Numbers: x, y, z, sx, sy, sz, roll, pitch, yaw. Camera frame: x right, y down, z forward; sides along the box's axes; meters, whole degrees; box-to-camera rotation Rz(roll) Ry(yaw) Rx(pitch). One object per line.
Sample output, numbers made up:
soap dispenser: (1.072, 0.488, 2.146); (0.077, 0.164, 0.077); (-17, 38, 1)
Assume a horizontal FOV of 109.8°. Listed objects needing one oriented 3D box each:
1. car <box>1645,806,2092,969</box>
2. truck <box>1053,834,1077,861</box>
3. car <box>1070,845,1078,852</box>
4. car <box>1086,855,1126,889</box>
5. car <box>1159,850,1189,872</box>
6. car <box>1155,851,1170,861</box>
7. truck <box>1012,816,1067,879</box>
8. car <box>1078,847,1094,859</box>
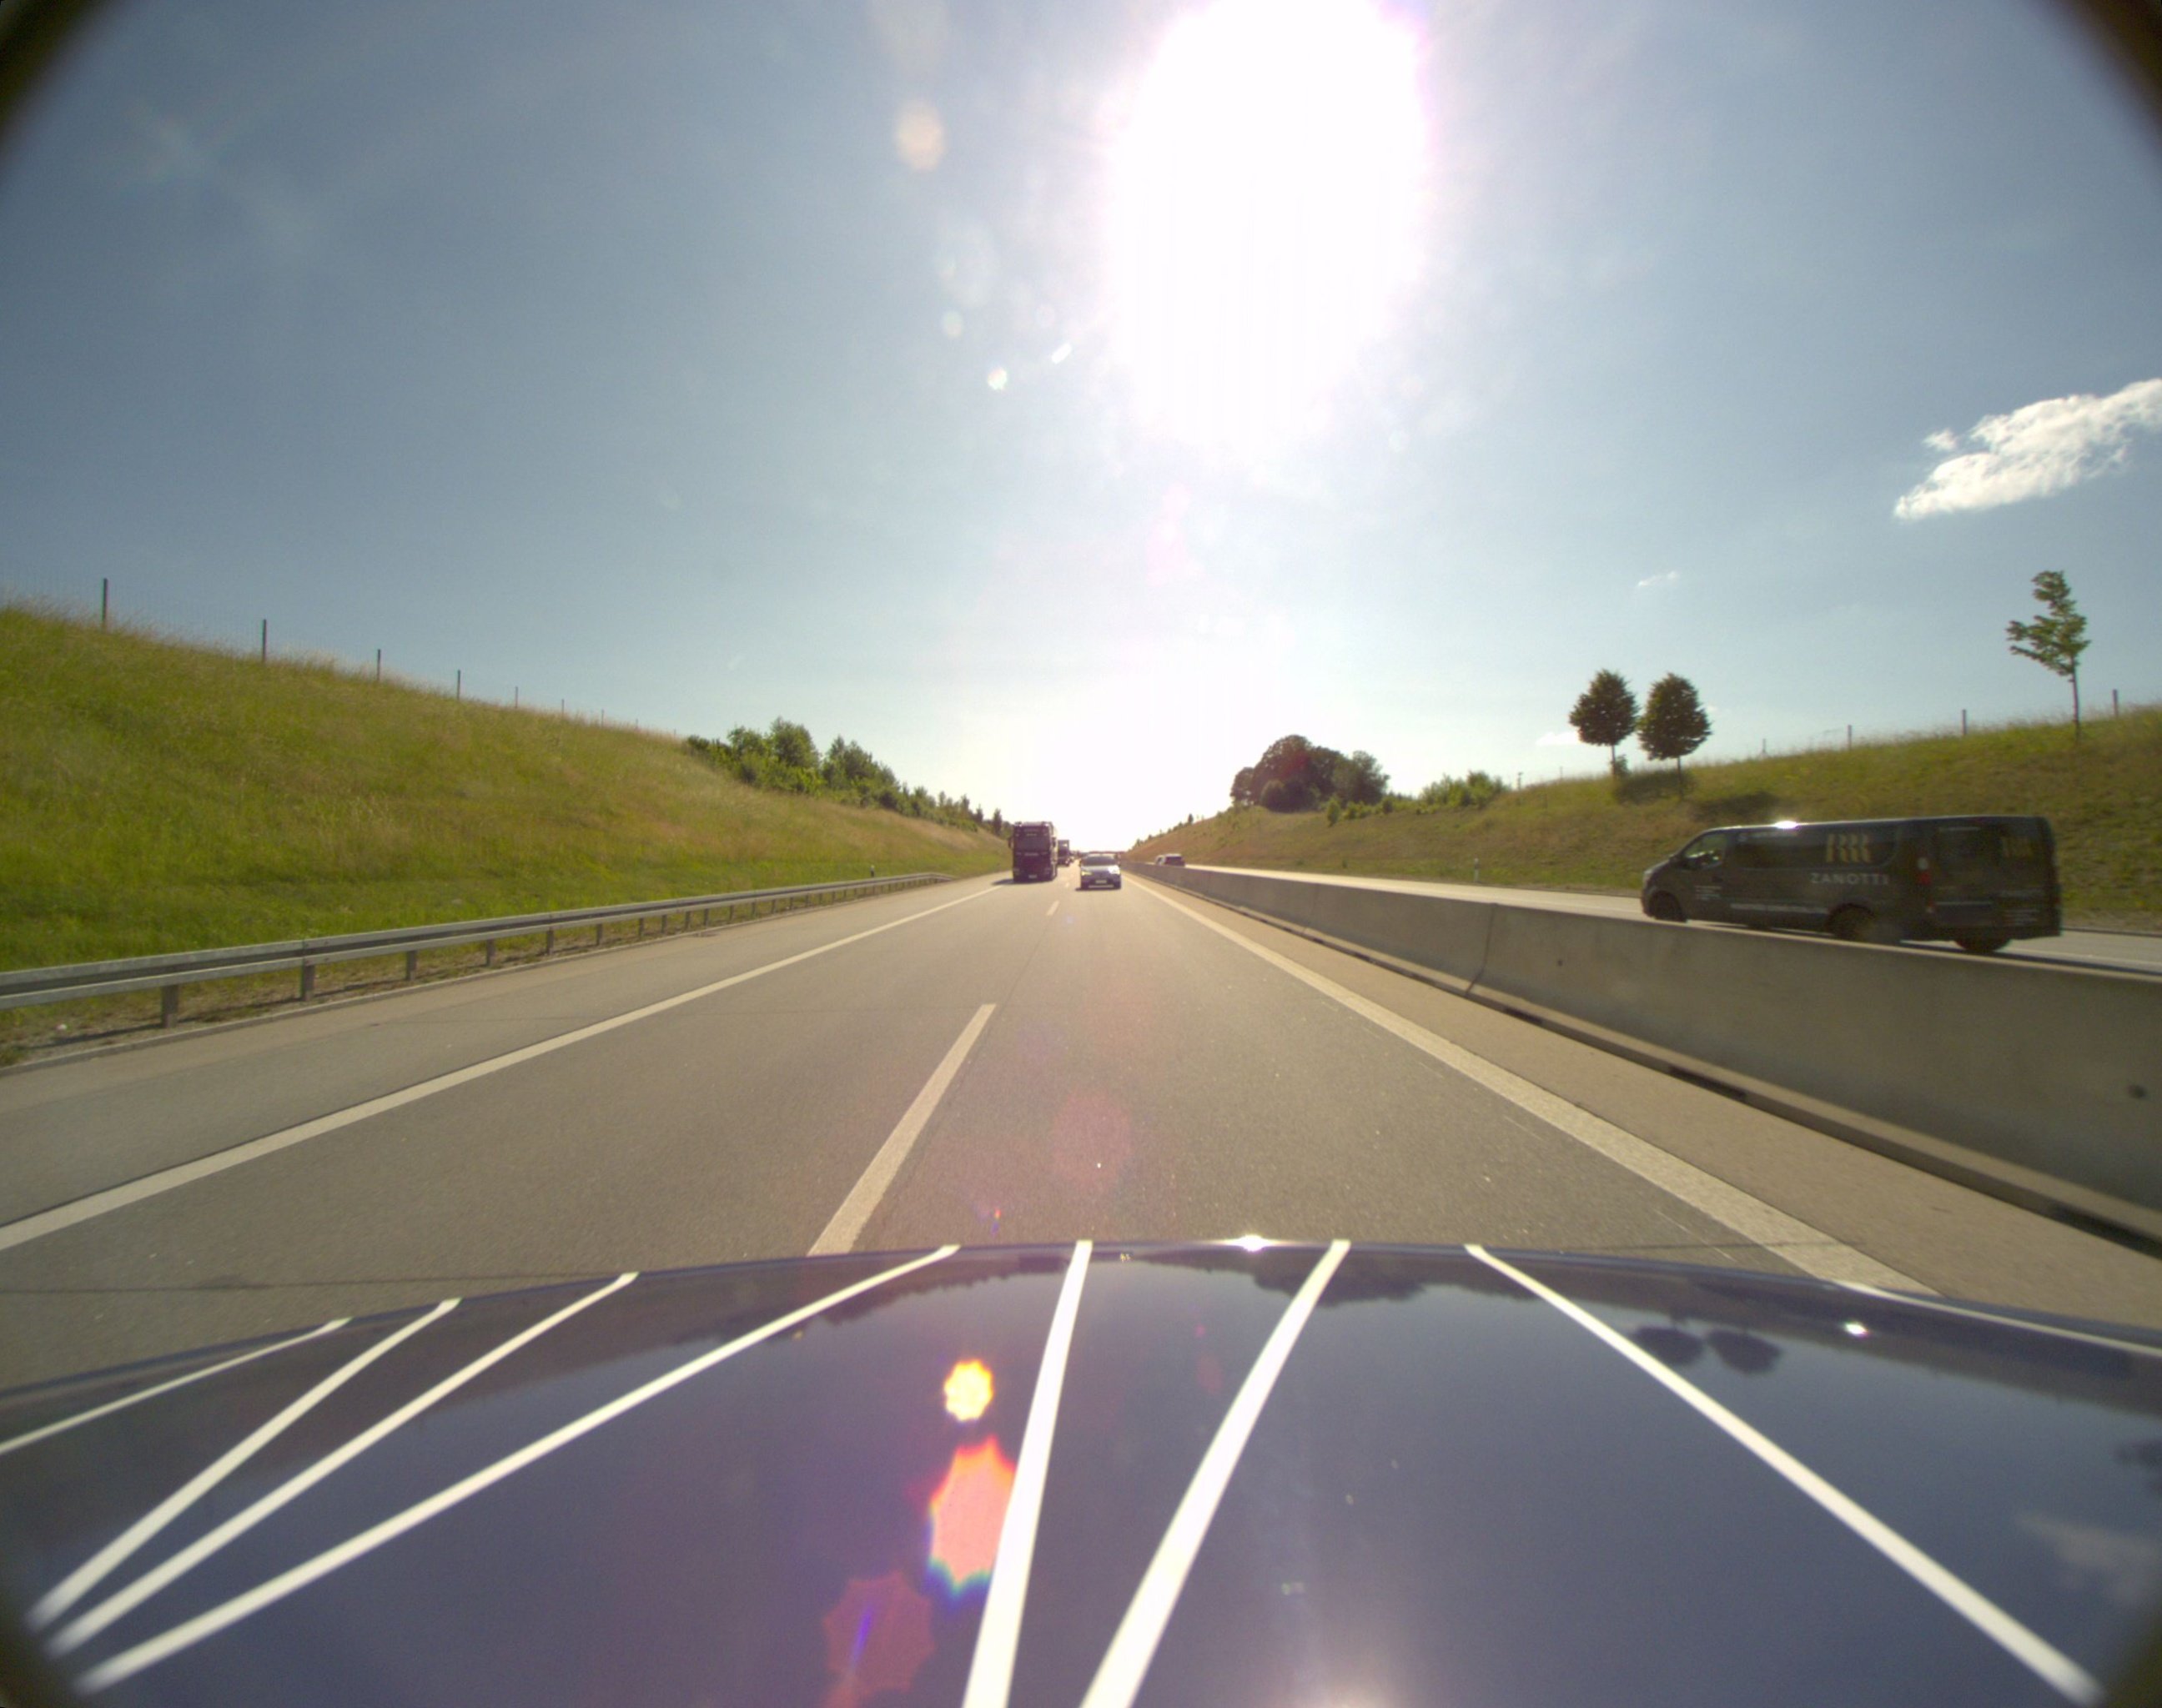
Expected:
car: (11.863, 0.417, 12.146); (1.998, 2.002, 4.970); (-2, 0, 1)
truck: (-2.314, -0.890, 114.956); (3.025, 3.795, 13.403); (1, 0, 1)
car: (-1.553, -1.233, 170.131); (1.708, 1.433, 3.633); (1, 0, -4)
car: (1.195, 0.799, 35.679); (1.795, 1.501, 3.635); (-1, 0, 2)
car: (7.889, 0.533, 64.815); (1.936, 1.722, 4.886); (-2, 0, 1)
car: (11.886, 0.305, 111.332); (1.808, 1.462, 4.527); (-1, 0, 1)
truck: (-2.679, -0.404, 53.287); (2.623, 3.795, 13.404); (-1, 0, 2)
car: (0.820, -0.166, 134.680); (2.816, 2.143, 5.946); (1, 0, 0)
